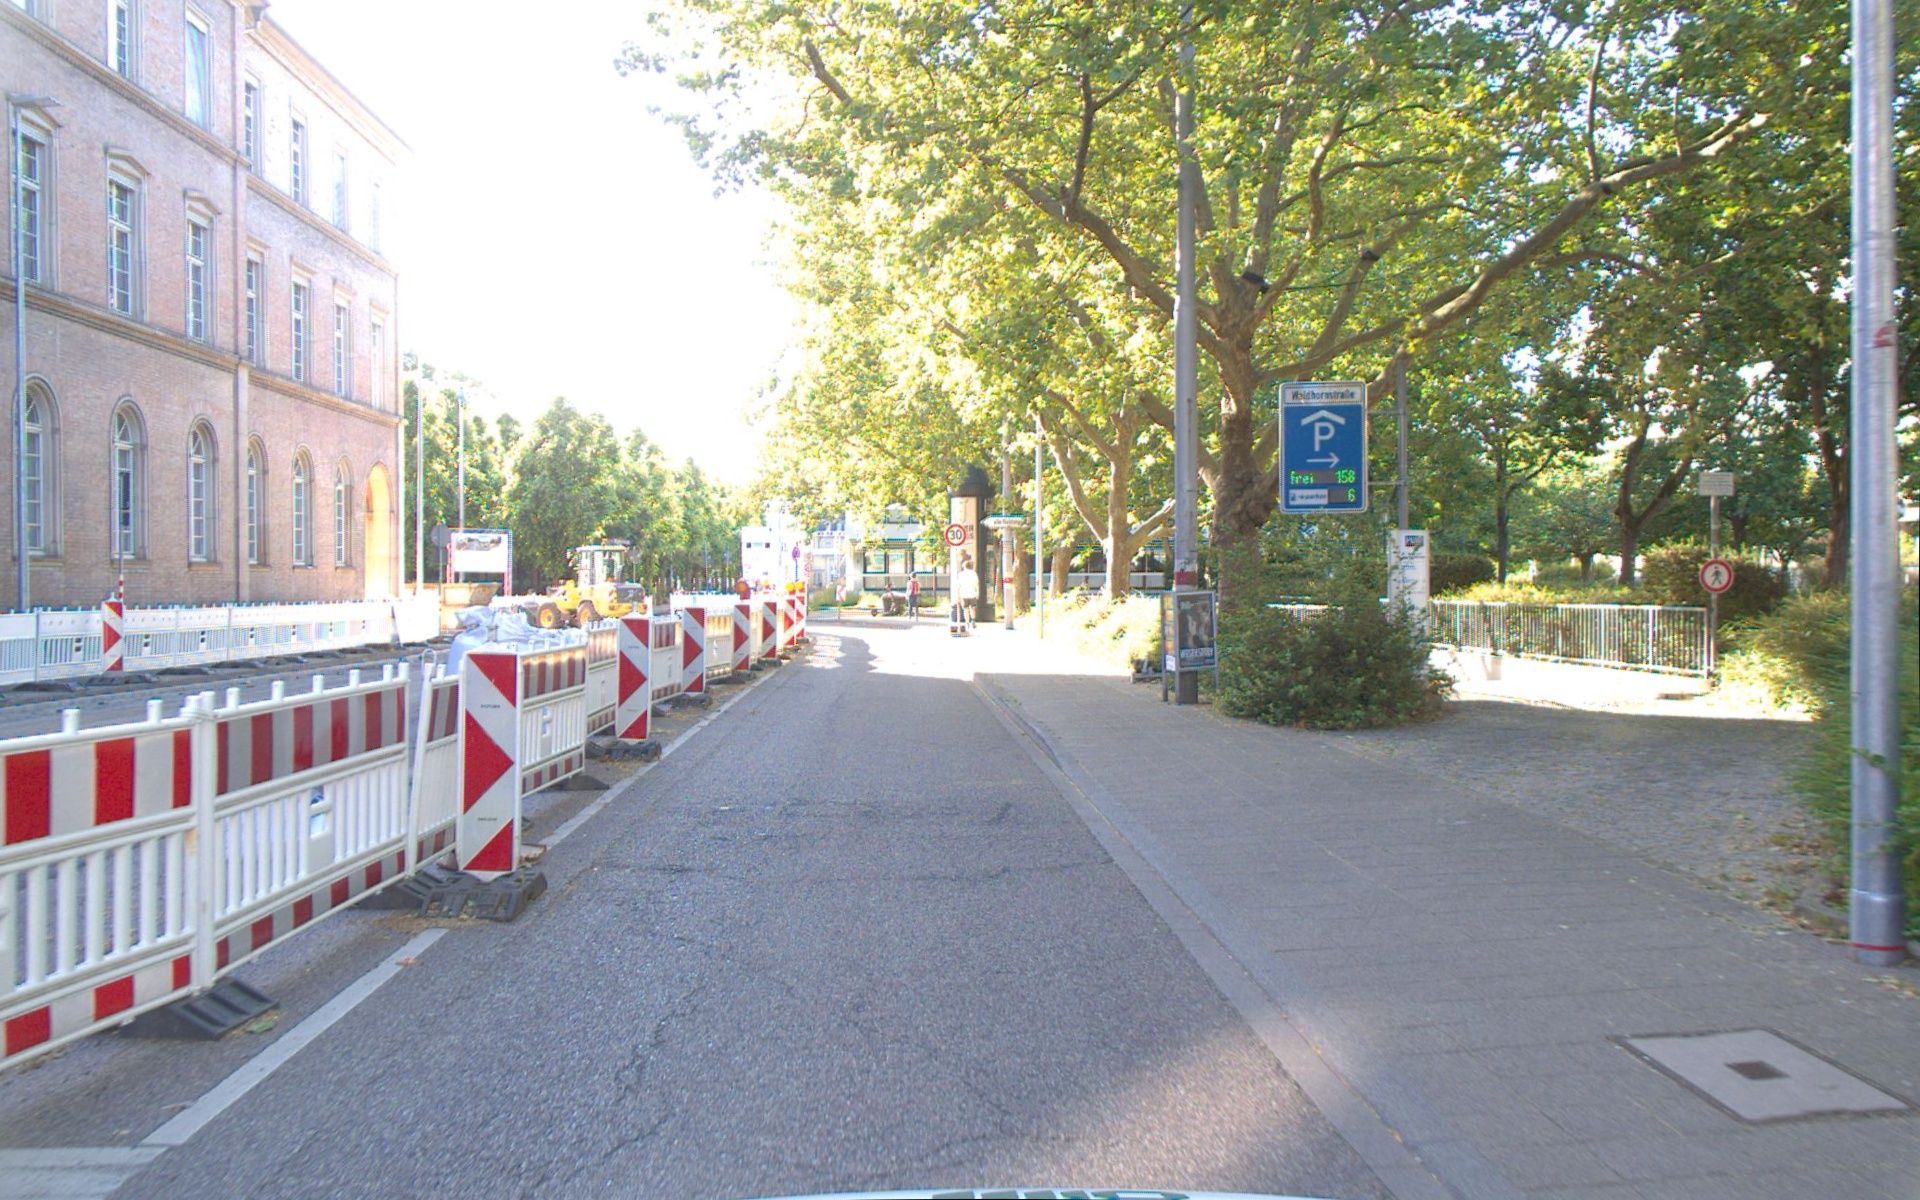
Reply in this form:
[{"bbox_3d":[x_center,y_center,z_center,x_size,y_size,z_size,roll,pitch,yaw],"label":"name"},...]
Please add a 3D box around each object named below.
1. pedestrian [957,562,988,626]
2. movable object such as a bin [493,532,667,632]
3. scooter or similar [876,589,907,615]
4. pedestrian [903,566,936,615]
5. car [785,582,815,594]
[{"bbox_3d":[0.357,-0.187,47.843,0.731,1.844,1.132,0,1,-7],"label":"pedestrian"},{"bbox_3d":[-12.448,-0.576,53.967,5.823,3.084,2.553,-1,1,41],"label":"movable object such as a bin"},{"bbox_3d":[-2.611,0.071,62.908,1.126,0.930,0.418,-2,0,-11],"label":"scooter or similar"},{"bbox_3d":[-1.370,-0.319,55.403,0.702,1.651,0.928,-1,0,-34],"label":"pedestrian"},{"bbox_3d":[-24.013,-1.806,248.612,4.467,1.822,1.998,0,1,-4],"label":"car"}]
